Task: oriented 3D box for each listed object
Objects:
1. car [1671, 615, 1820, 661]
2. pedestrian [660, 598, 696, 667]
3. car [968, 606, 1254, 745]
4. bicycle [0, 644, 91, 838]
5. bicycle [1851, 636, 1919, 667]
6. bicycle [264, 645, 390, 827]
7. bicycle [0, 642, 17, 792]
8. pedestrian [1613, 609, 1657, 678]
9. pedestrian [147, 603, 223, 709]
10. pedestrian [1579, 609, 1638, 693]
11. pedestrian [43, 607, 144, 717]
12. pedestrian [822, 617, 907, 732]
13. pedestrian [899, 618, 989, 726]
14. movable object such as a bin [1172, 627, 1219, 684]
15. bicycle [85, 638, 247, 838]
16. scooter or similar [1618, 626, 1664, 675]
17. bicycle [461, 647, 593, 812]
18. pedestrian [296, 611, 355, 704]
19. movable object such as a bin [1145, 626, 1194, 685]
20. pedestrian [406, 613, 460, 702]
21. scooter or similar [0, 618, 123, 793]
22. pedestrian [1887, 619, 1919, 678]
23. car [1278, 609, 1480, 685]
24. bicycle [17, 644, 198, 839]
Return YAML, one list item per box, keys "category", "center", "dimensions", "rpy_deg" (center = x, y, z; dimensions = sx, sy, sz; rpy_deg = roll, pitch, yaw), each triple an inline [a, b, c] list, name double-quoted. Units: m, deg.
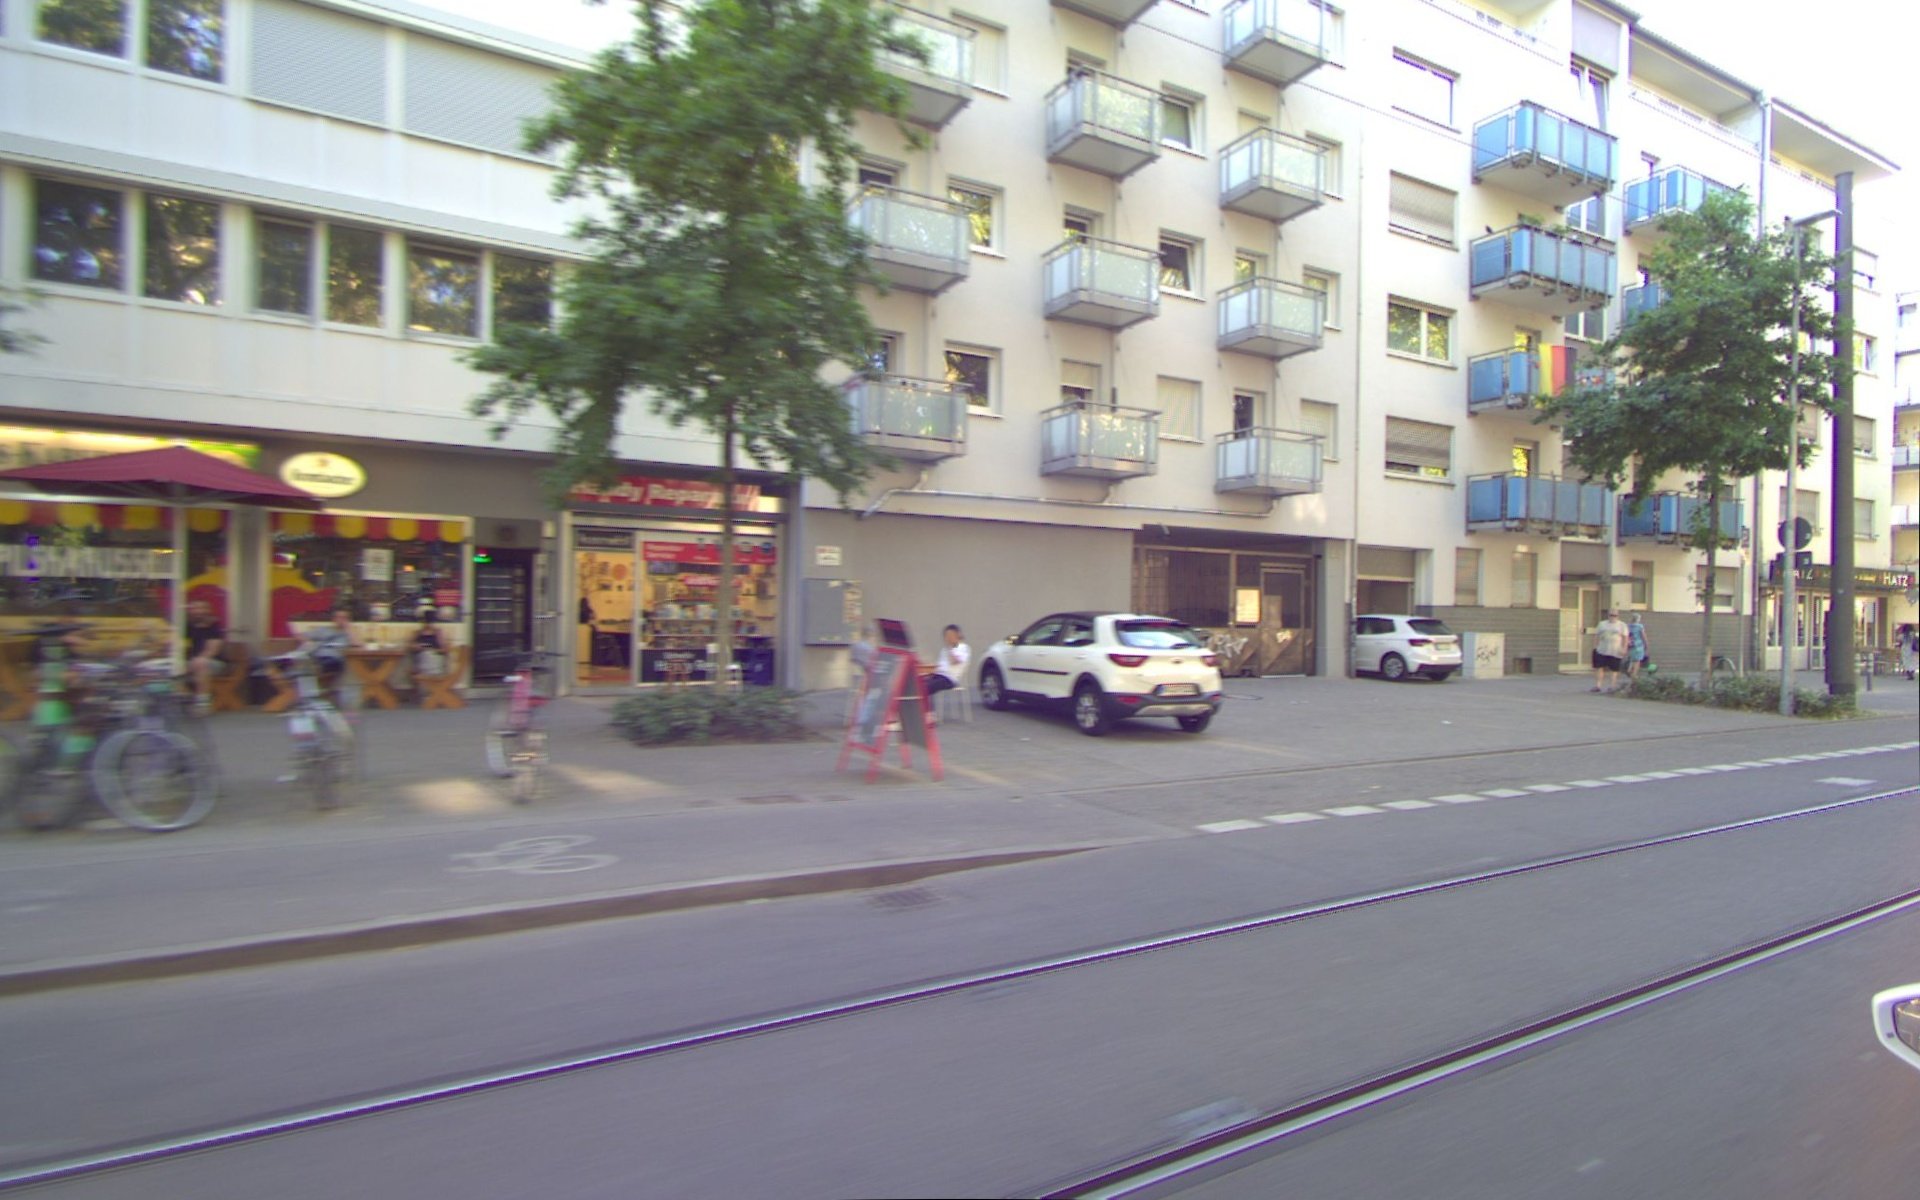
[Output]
- category: "car"
  center: [34.825, 1.646, 44.680]
  dimensions: [2.016, 1.846, 4.848]
  rpy_deg: [1, -1, -32]
- category: "pedestrian"
  center: [-5.062, 0.582, 18.011]
  dimensions: [0.556, 1.214, 0.510]
  rpy_deg: [1, -1, -23]
- category: "car"
  center: [1.829, 0.885, 13.495]
  dimensions: [1.828, 1.495, 3.998]
  rpy_deg: [2, 0, -26]
- category: "bicycle"
  center: [-6.176, 0.839, 6.423]
  dimensions: [0.651, 1.020, 1.818]
  rpy_deg: [2, 0, -32]
- category: "bicycle"
  center: [35.757, 1.979, 38.868]
  dimensions: [0.562, 1.172, 1.946]
  rpy_deg: [1, -2, -14]
- category: "bicycle"
  center: [-4.490, 0.882, 7.135]
  dimensions: [0.651, 1.020, 1.818]
  rpy_deg: [2, 0, -32]
- category: "bicycle"
  center: [-6.599, 0.822, 6.293]
  dimensions: [0.651, 1.020, 1.818]
  rpy_deg: [2, 0, -32]
- category: "pedestrian"
  center: [17.145, 1.095, 25.517]
  dimensions: [0.740, 1.713, 0.660]
  rpy_deg: [1, 0, -30]
- category: "pedestrian"
  center: [-9.232, 0.655, 11.964]
  dimensions: [0.504, 1.214, 0.562]
  rpy_deg: [0, -1, 33]
- category: "pedestrian"
  center: [13.669, 1.060, 21.172]
  dimensions: [0.785, 1.713, 0.760]
  rpy_deg: [1, 0, -30]
- category: "pedestrian"
  center: [-10.020, 0.697, 11.625]
  dimensions: [0.591, 1.214, 0.691]
  rpy_deg: [0, -1, 27]
- category: "pedestrian"
  center: [-1.146, 0.864, 12.057]
  dimensions: [0.742, 1.314, 0.705]
  rpy_deg: [1, -1, -42]
- category: "pedestrian"
  center: [-0.200, 0.898, 12.891]
  dimensions: [0.905, 1.314, 0.705]
  rpy_deg: [1, -1, -42]
- category: "movable object such as a bin"
  center: [4.496, 1.053, 19.198]
  dimensions: [0.567, 1.069, 0.670]
  rpy_deg: [1, -1, -27]
- category: "bicycle"
  center: [-5.298, 0.843, 6.802]
  dimensions: [0.651, 1.078, 1.818]
  rpy_deg: [2, 0, -32]
- category: "scooter or similar"
  center: [18.346, 1.356, 27.055]
  dimensions: [1.218, 1.306, 0.374]
  rpy_deg: [1, -2, -21]
- category: "bicycle"
  center: [-3.358, 0.922, 7.703]
  dimensions: [0.651, 1.020, 1.681]
  rpy_deg: [2, 0, -33]
- category: "pedestrian"
  center: [-8.528, 0.758, 13.517]
  dimensions: [0.616, 1.214, 0.559]
  rpy_deg: [1, -1, -29]
- category: "movable object such as a bin"
  center: [3.941, 1.039, 18.896]
  dimensions: [0.614, 1.069, 0.675]
  rpy_deg: [1, -1, -27]
- category: "pedestrian"
  center: [-7.438, 0.800, 14.173]
  dimensions: [0.647, 1.214, 0.669]
  rpy_deg: [1, -1, -29]
- category: "scooter or similar"
  center: [-6.812, 0.758, 7.623]
  dimensions: [0.492, 1.192, 1.074]
  rpy_deg: [2, 0, -29]
- category: "pedestrian"
  center: [28.108, 1.435, 29.831]
  dimensions: [0.740, 1.713, 0.660]
  rpy_deg: [1, 0, -30]
- category: "car"
  center: [9.557, 1.029, 23.224]
  dimensions: [1.830, 1.495, 3.993]
  rpy_deg: [2, 0, -30]
- category: "bicycle"
  center: [-5.603, 0.854, 6.704]
  dimensions: [0.651, 1.020, 1.818]
  rpy_deg: [2, 0, -32]
